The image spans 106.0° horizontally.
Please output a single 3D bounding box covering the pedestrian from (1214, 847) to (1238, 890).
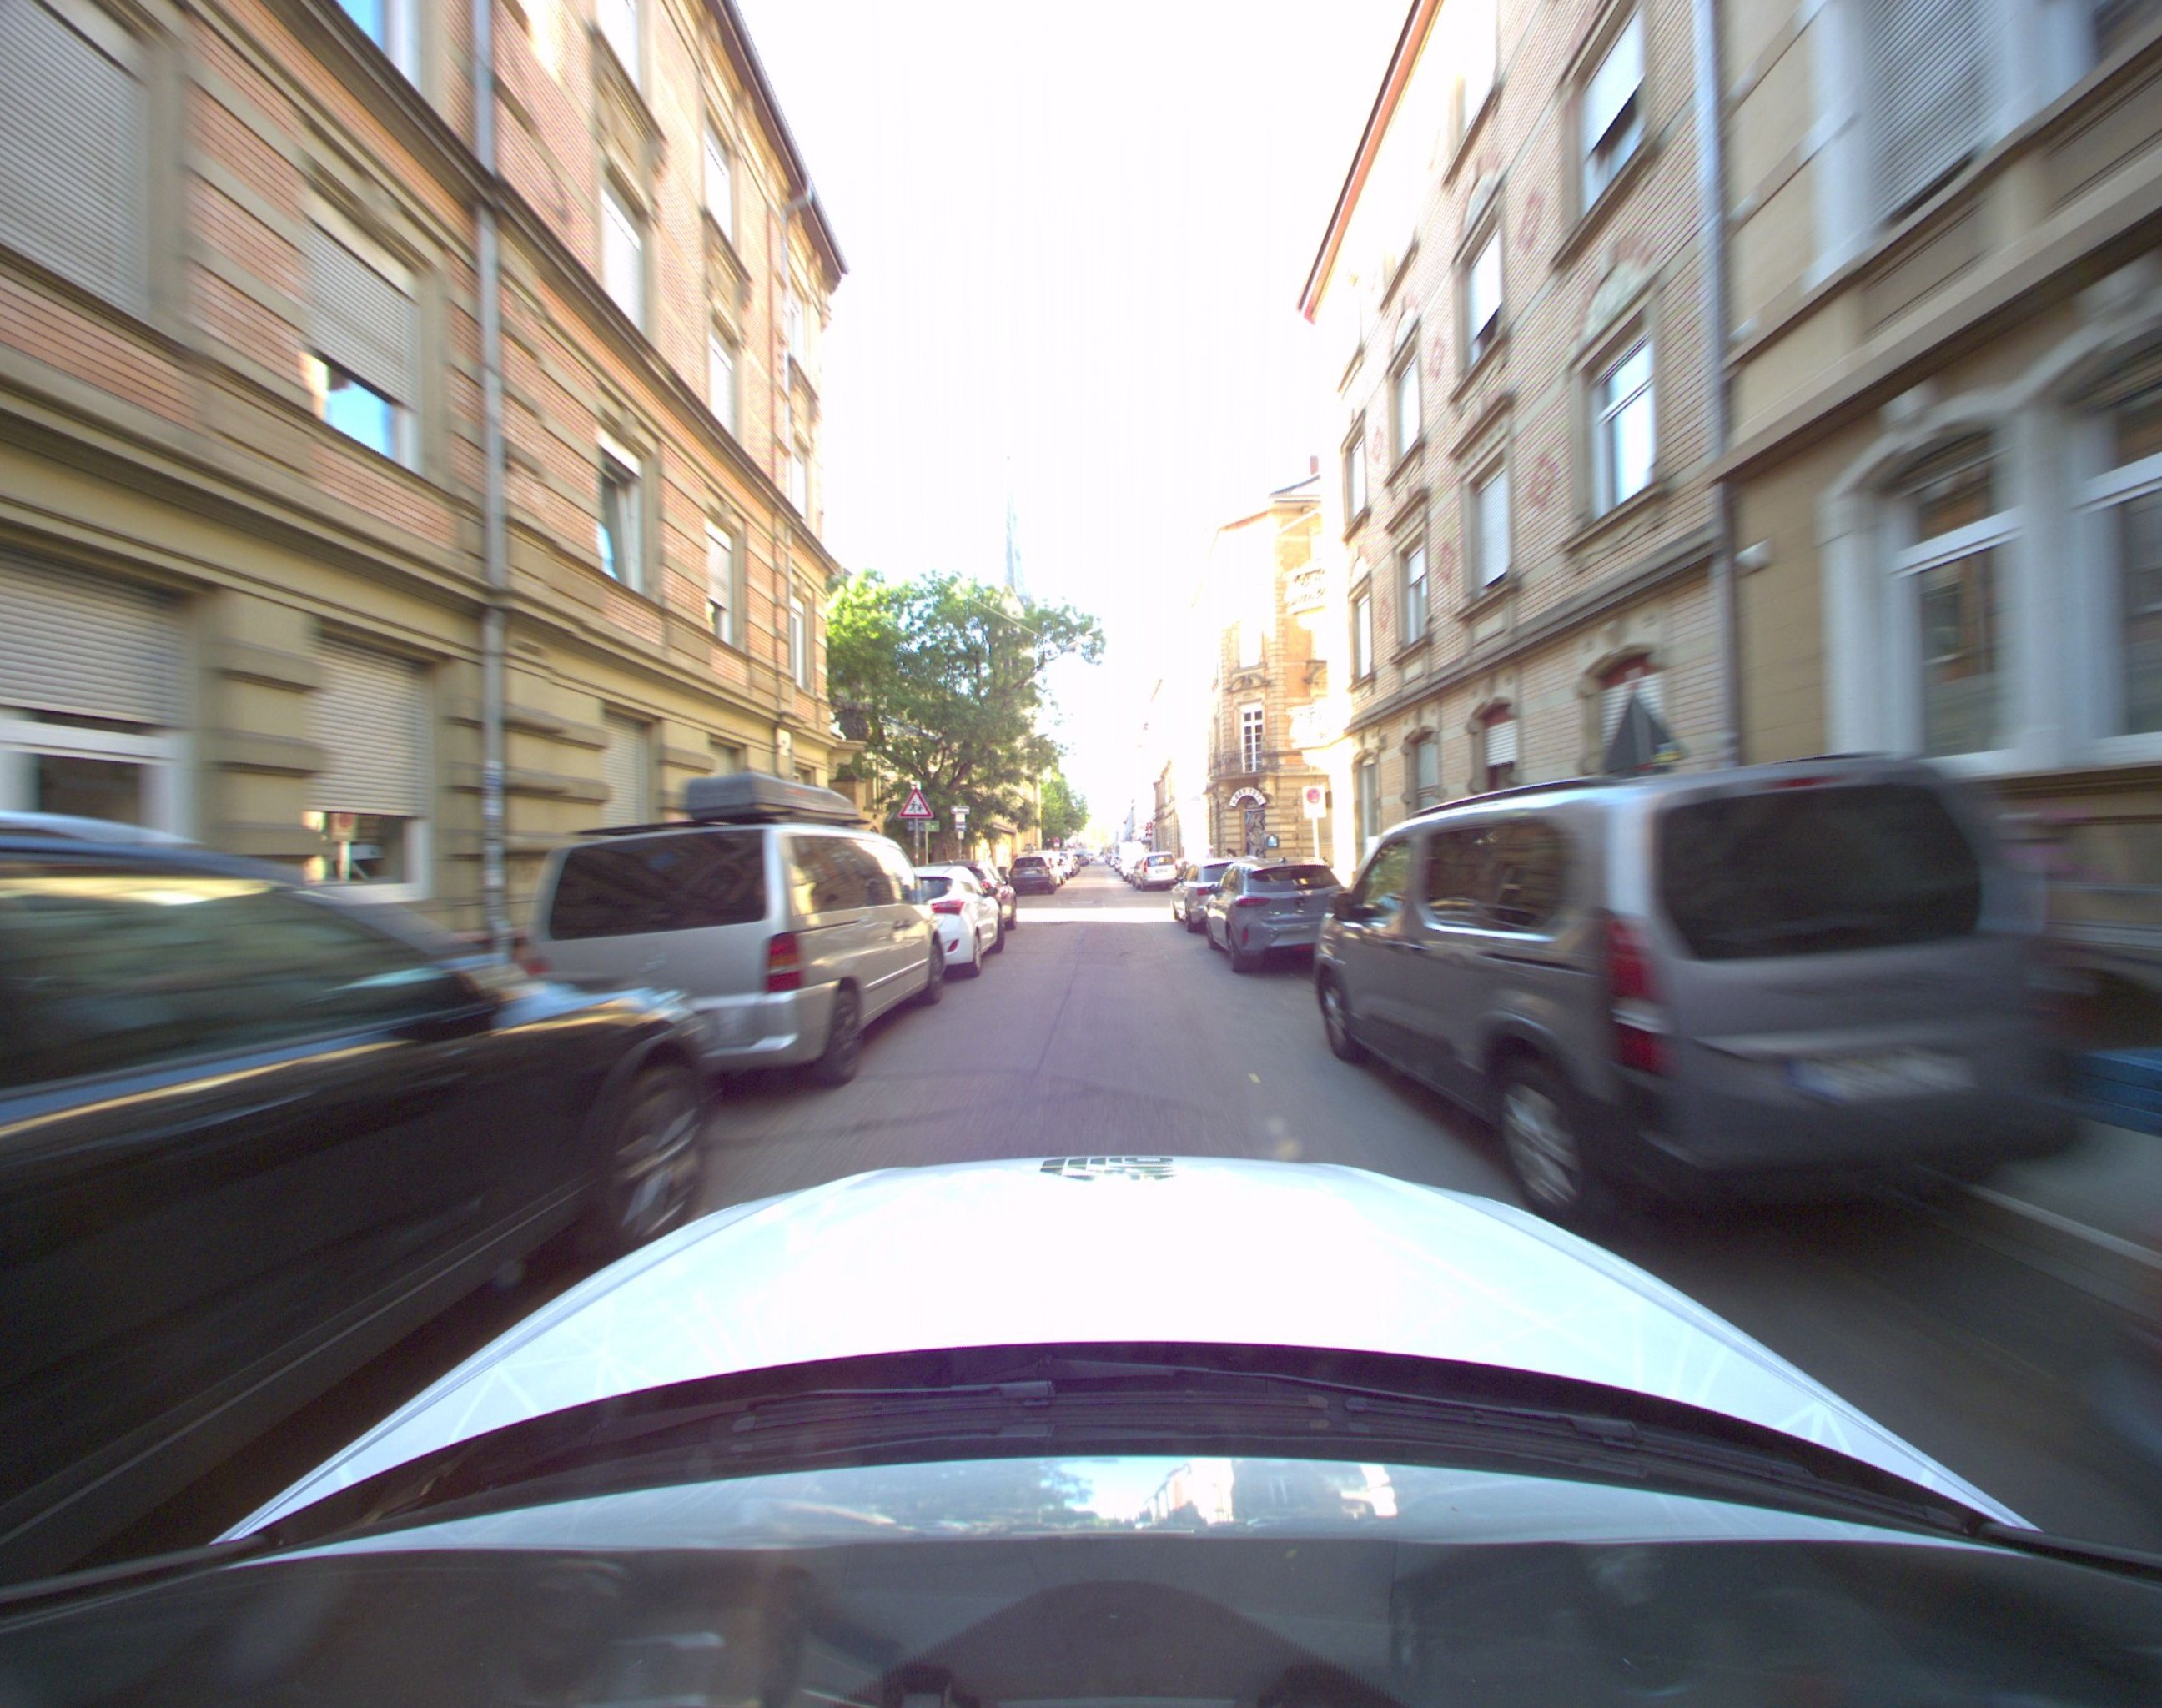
[{"bbox_3d":[5.576,0.562,31.400,0.591,1.604,0.724,-3,0,-14],"label":"pedestrian"}]

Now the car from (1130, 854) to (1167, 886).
[{"bbox_3d":[3.385,0.771,41.406,1.530,1.513,3.680,-2,0,-1],"label":"car"}]

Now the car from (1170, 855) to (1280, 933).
[{"bbox_3d":[2.940,0.750,17.544,1.700,1.459,4.513,0,0,2],"label":"car"}]

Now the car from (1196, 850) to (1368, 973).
[{"bbox_3d":[2.773,0.708,12.052,1.660,1.479,3.889,-1,0,2],"label":"car"}]

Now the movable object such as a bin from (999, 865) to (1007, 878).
[{"bbox_3d":[-5.094,1.153,53.326,0.451,0.807,0.590,-1,0,1],"label":"movable object such as a bin"}]

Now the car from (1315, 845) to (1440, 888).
[{"bbox_3d":[10.822,0.443,29.948,3.965,1.452,1.734,-1,0,2],"label":"car"}]

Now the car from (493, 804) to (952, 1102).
[{"bbox_3d":[-2.524,0.596,7.207,1.885,1.784,4.610,0,0,2],"label":"car"}]

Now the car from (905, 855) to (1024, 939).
[{"bbox_3d":[-2.209,0.768,16.536,1.716,1.481,4.091,0,0,1],"label":"car"}]

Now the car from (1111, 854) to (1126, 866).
[{"bbox_3d":[5.029,0.814,110.450,1.890,1.488,3.871,-1,0,2],"label":"car"}]

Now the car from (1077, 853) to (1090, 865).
[{"bbox_3d":[0.396,0.753,122.637,1.868,1.796,4.001,-1,0,2],"label":"car"}]

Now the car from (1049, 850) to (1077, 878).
[{"bbox_3d":[-1.327,0.721,62.179,1.858,1.957,4.610,-3,0,1],"label":"car"}]

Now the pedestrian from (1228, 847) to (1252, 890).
[{"bbox_3d":[6.164,0.540,31.627,0.575,1.621,0.731,-3,0,-14],"label":"pedestrian"}]

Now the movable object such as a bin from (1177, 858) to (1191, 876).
[{"bbox_3d":[6.379,0.791,50.446,0.551,1.052,0.597,-4,0,-32],"label":"movable object such as a bin"}]

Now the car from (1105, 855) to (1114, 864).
[{"bbox_3d":[6.492,1.229,186.776,1.986,2.013,4.001,-1,0,1],"label":"car"}]

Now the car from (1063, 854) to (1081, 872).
[{"bbox_3d":[-0.898,0.901,83.074,1.594,1.614,3.808,-4,0,1],"label":"car"}]

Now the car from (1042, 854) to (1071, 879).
[{"bbox_3d":[-1.644,0.839,56.544,1.736,1.586,3.870,-2,0,1],"label":"car"}]

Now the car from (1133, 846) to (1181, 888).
[{"bbox_3d":[3.364,0.559,36.576,1.698,1.714,3.936,-2,0,-1],"label":"car"}]

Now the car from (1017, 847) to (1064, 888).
[{"bbox_3d":[-1.946,0.618,40.476,1.838,1.862,4.468,-2,0,2],"label":"car"}]

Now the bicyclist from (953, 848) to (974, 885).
[{"bbox_3d":[-5.547,0.565,38.557,0.800,1.723,0.694,1,1,9],"label":"bicyclist"}]

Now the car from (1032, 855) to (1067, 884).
[{"bbox_3d":[-1.719,0.825,45.700,1.681,1.476,3.861,-3,0,1],"label":"car"}]

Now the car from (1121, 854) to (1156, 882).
[{"bbox_3d":[3.234,0.773,46.515,1.568,1.525,3.904,1,0,-3],"label":"car"}]

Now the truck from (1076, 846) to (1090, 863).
[{"bbox_3d":[0.418,0.145,160.774,2.523,3.282,6.997,-1,0,2],"label":"truck"}]

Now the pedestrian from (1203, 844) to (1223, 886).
[{"bbox_3d":[5.525,0.461,34.195,0.573,1.732,0.662,-3,0,-9],"label":"pedestrian"}]

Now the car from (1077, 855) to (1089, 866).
[{"bbox_3d":[0.323,1.176,144.314,1.871,1.796,3.996,-1,0,-2],"label":"car"}]

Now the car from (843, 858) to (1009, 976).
[{"bbox_3d":[-2.059,0.776,11.851,1.669,1.420,3.874,0,0,0],"label":"car"}]

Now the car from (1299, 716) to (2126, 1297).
[{"bbox_3d":[2.702,0.510,4.891,1.763,1.961,4.265,0,0,1],"label":"car"}]

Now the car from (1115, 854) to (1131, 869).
[{"bbox_3d":[4.215,0.738,81.825,1.597,1.505,4.003,0,0,3],"label":"car"}]

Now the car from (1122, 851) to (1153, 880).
[{"bbox_3d":[3.517,0.710,51.249,1.801,1.690,4.216,0,-1,2],"label":"car"}]

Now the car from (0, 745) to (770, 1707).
[{"bbox_3d":[-2.575,0.641,1.881,1.781,1.624,4.610,0,0,2],"label":"car"}]

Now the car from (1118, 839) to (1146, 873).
[{"bbox_3d":[4.092,0.157,66.023,2.060,2.611,5.889,-1,0,1],"label":"car"}]

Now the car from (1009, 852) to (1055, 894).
[{"bbox_3d":[-2.038,0.760,34.972,1.735,1.646,4.287,-2,0,-1],"label":"car"}]
